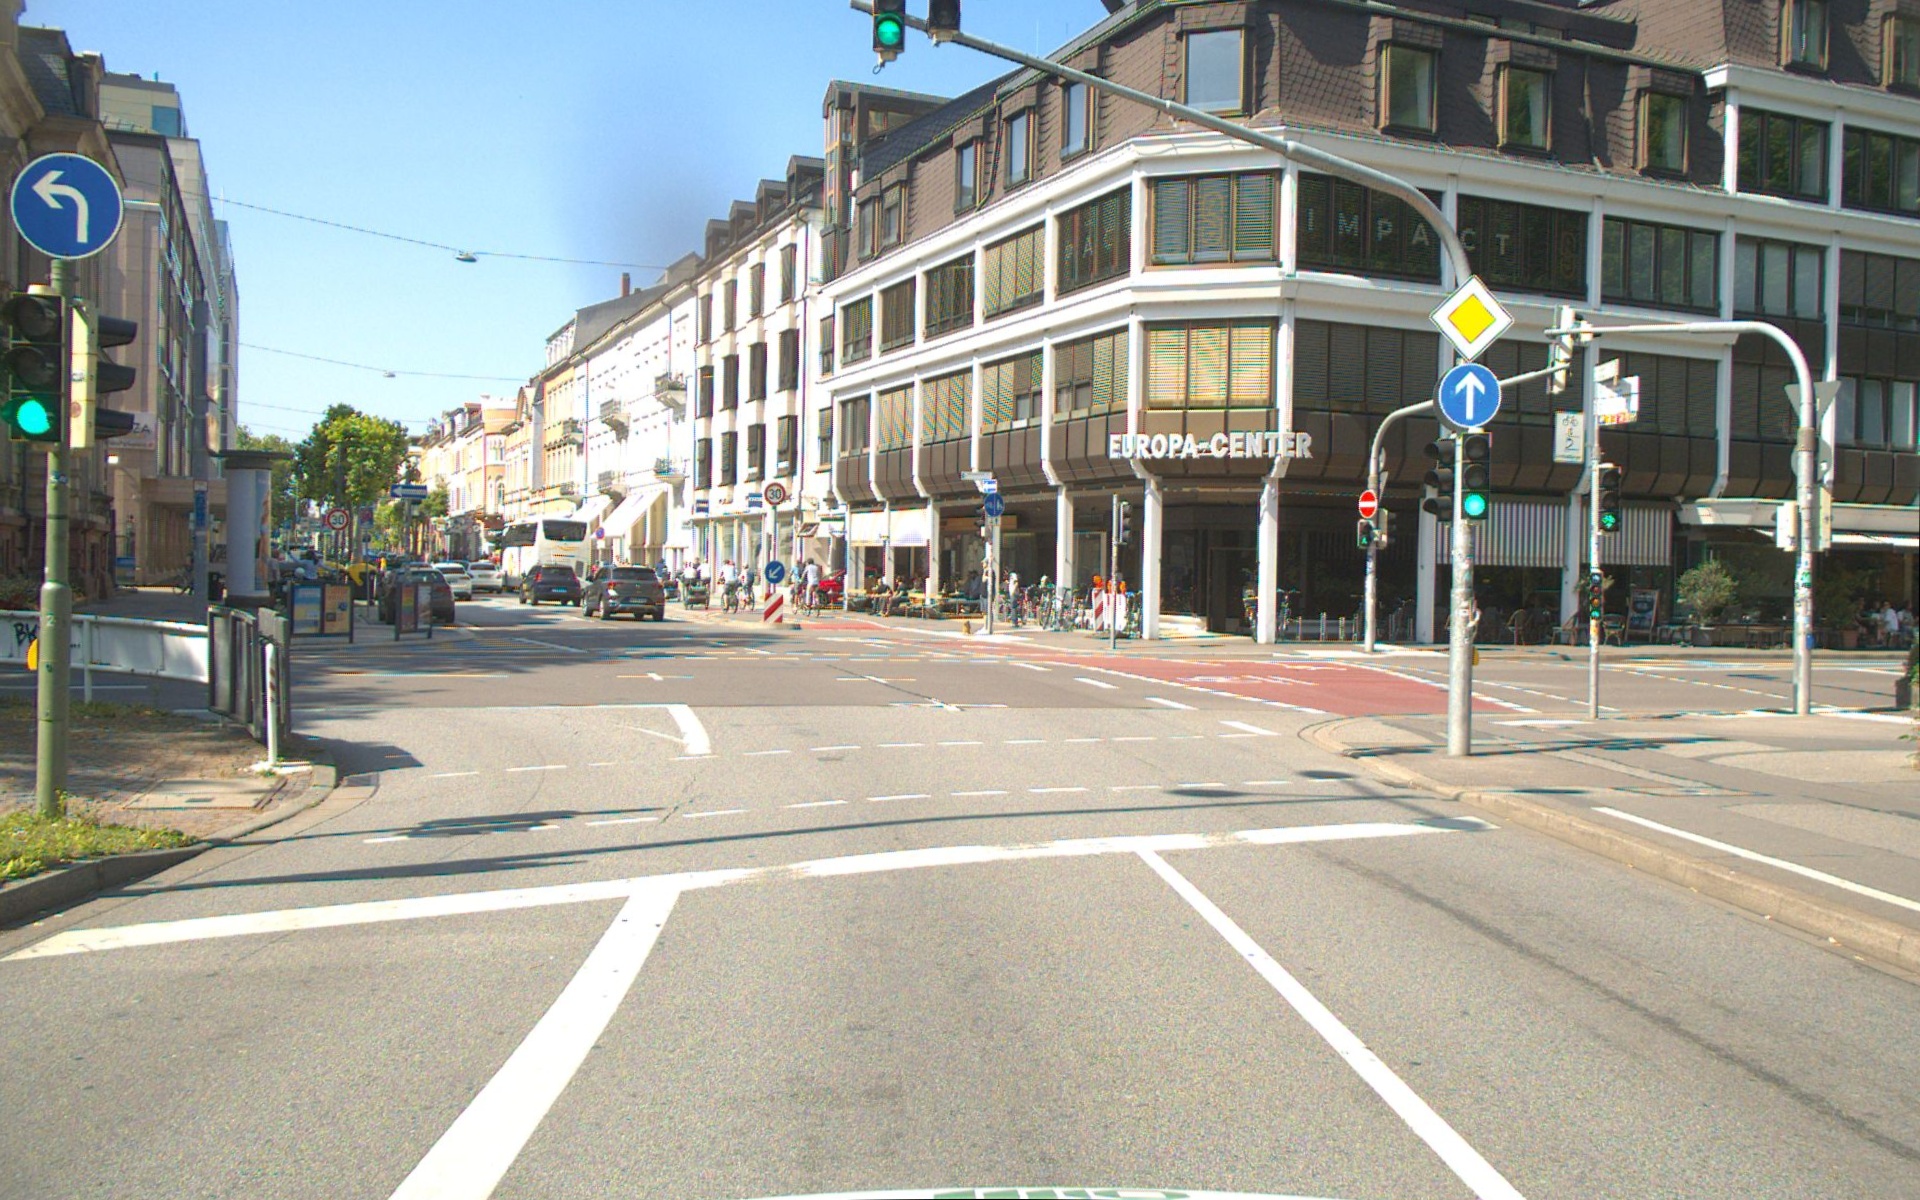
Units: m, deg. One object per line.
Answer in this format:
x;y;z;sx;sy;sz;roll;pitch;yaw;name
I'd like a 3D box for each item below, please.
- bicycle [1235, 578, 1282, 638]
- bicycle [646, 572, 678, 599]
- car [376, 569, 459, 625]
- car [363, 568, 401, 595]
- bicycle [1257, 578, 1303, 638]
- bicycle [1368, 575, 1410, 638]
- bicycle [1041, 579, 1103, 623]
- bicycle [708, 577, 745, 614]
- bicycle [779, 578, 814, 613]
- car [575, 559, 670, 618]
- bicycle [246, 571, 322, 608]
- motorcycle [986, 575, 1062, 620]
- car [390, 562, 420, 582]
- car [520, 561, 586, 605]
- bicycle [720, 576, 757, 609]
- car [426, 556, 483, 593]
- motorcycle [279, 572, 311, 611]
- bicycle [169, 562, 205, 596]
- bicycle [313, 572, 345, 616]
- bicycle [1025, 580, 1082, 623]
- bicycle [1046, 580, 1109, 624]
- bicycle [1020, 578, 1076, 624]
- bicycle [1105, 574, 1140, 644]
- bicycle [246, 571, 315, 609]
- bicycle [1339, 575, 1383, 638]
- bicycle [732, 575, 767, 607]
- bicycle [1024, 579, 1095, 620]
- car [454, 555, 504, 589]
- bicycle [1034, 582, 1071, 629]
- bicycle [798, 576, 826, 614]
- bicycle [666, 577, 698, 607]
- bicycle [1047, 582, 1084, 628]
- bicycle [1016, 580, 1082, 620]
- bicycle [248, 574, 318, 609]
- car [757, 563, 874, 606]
7.082;0.181;39.211;0.519;1.339;1.964;1;2;28;bicycle
-12.719;-0.615;70.529;0.827;1.118;2.335;1;1;-24;bicycle
-14.679;-0.121;44.632;1.909;1.378;4.223;0;2;-21;car
-33.233;-1.018;95.063;1.838;1.466;3.971;1;-1;-23;car
7.561;0.181;39.015;0.519;1.339;1.857;1;2;28;bicycle
10.366;0.140;39.929;0.519;1.447;1.964;1;2;28;bicycle
3.033;0.025;44.717;1.689;1.140;0.276;-1;1;-17;bicycle
-7.819;-0.161;55.333;0.655;1.140;2.228;3;1;-22;bicycle
-5.432;-0.147;54.949;0.611;1.118;2.339;1;1;-19;bicycle
-9.768;-0.342;47.715;1.809;1.554;3.969;3;-1;-24;car
-22.184;-0.340;54.300;2.216;1.140;0.550;3;-1;-35;bicycle
1.880;-0.068;48.584;2.188;1.313;0.949;0;0;5;motorcycle
-41.487;-2.099;123.644;1.838;1.466;3.972;0;2;-23;car
-14.987;-0.622;60.784;1.807;1.554;3.974;-1;1;-21;car
-7.773;-0.265;57.927;0.612;1.118;2.335;1;1;-24;bicycle
-20.321;-1.042;66.389;1.837;1.466;3.973;0;1;-22;car
-17.908;-0.233;44.562;0.446;1.015;2.153;2;0;-13;motorcycle
-25.640;-0.694;54.850;0.486;1.080;1.995;1;1;-42;bicycle
-17.002;-0.157;44.596;0.422;1.140;2.236;2;-1;-12;bicycle
2.551;0.027;45.079;1.545;1.140;0.276;-1;1;-17;bicycle
3.144;0.048;44.339;1.689;1.140;0.276;-1;1;-17;bicycle
2.416;0.021;45.420;1.520;1.228;0.276;1;1;-17;bicycle
4.031;0.215;40.934;0.368;1.073;1.485;0;33;22;bicycle
-22.036;-0.331;53.654;1.943;1.140;0.550;3;-1;-35;bicycle
9.675;0.138;39.869;0.519;1.447;1.964;1;2;28;bicycle
-7.684;-0.330;60.356;0.612;1.118;2.335;1;1;-24;bicycle
2.800;-0.003;46.308;2.213;1.140;0.275;1;1;-31;bicycle
-22.773;-1.304;78.238;1.808;1.554;3.971;-1;1;-23;car
2.404;0.126;43.183;0.272;1.140;2.235;1;1;-15;bicycle
-4.649;-0.160;51.915;0.584;1.140;1.794;1;1;-15;bicycle
-10.663;-0.317;63.322;0.612;1.118;2.335;1;1;-24;bicycle
2.755;0.120;43.332;0.272;1.140;2.235;1;1;-15;bicycle
2.533;0.004;46.862;2.219;1.116;0.274;0;1;-37;bicycle
-21.705;-0.273;53.017;1.945;1.035;0.663;3;-1;-35;bicycle
-5.374;-0.561;61.277;3.988;1.521;1.830;0;-1;-22;car
